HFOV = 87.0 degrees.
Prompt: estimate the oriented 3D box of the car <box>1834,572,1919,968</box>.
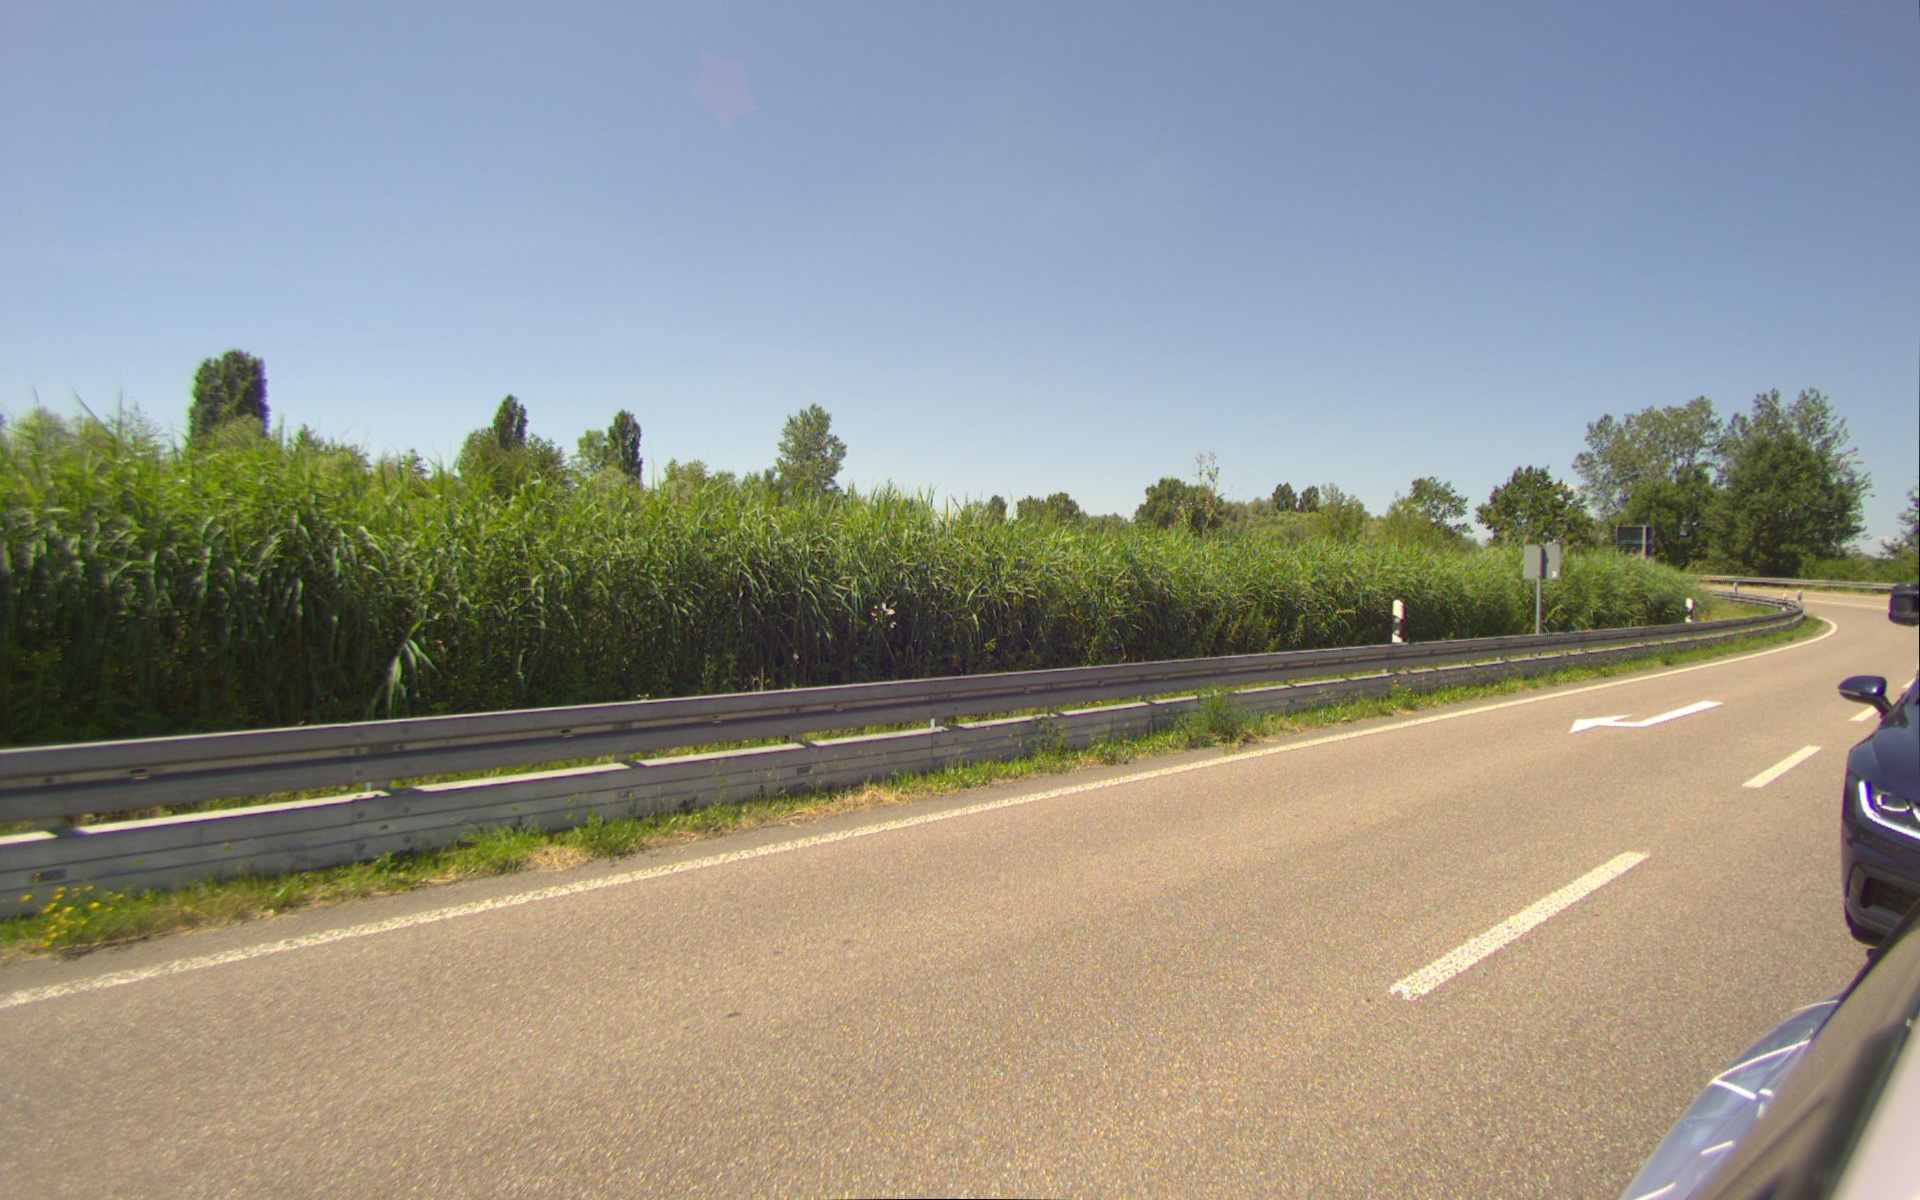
[{"bbox_3d":[5.648,0.622,4.693,4.338,1.481,1.818,-1,1,-41],"label":"car"}]
